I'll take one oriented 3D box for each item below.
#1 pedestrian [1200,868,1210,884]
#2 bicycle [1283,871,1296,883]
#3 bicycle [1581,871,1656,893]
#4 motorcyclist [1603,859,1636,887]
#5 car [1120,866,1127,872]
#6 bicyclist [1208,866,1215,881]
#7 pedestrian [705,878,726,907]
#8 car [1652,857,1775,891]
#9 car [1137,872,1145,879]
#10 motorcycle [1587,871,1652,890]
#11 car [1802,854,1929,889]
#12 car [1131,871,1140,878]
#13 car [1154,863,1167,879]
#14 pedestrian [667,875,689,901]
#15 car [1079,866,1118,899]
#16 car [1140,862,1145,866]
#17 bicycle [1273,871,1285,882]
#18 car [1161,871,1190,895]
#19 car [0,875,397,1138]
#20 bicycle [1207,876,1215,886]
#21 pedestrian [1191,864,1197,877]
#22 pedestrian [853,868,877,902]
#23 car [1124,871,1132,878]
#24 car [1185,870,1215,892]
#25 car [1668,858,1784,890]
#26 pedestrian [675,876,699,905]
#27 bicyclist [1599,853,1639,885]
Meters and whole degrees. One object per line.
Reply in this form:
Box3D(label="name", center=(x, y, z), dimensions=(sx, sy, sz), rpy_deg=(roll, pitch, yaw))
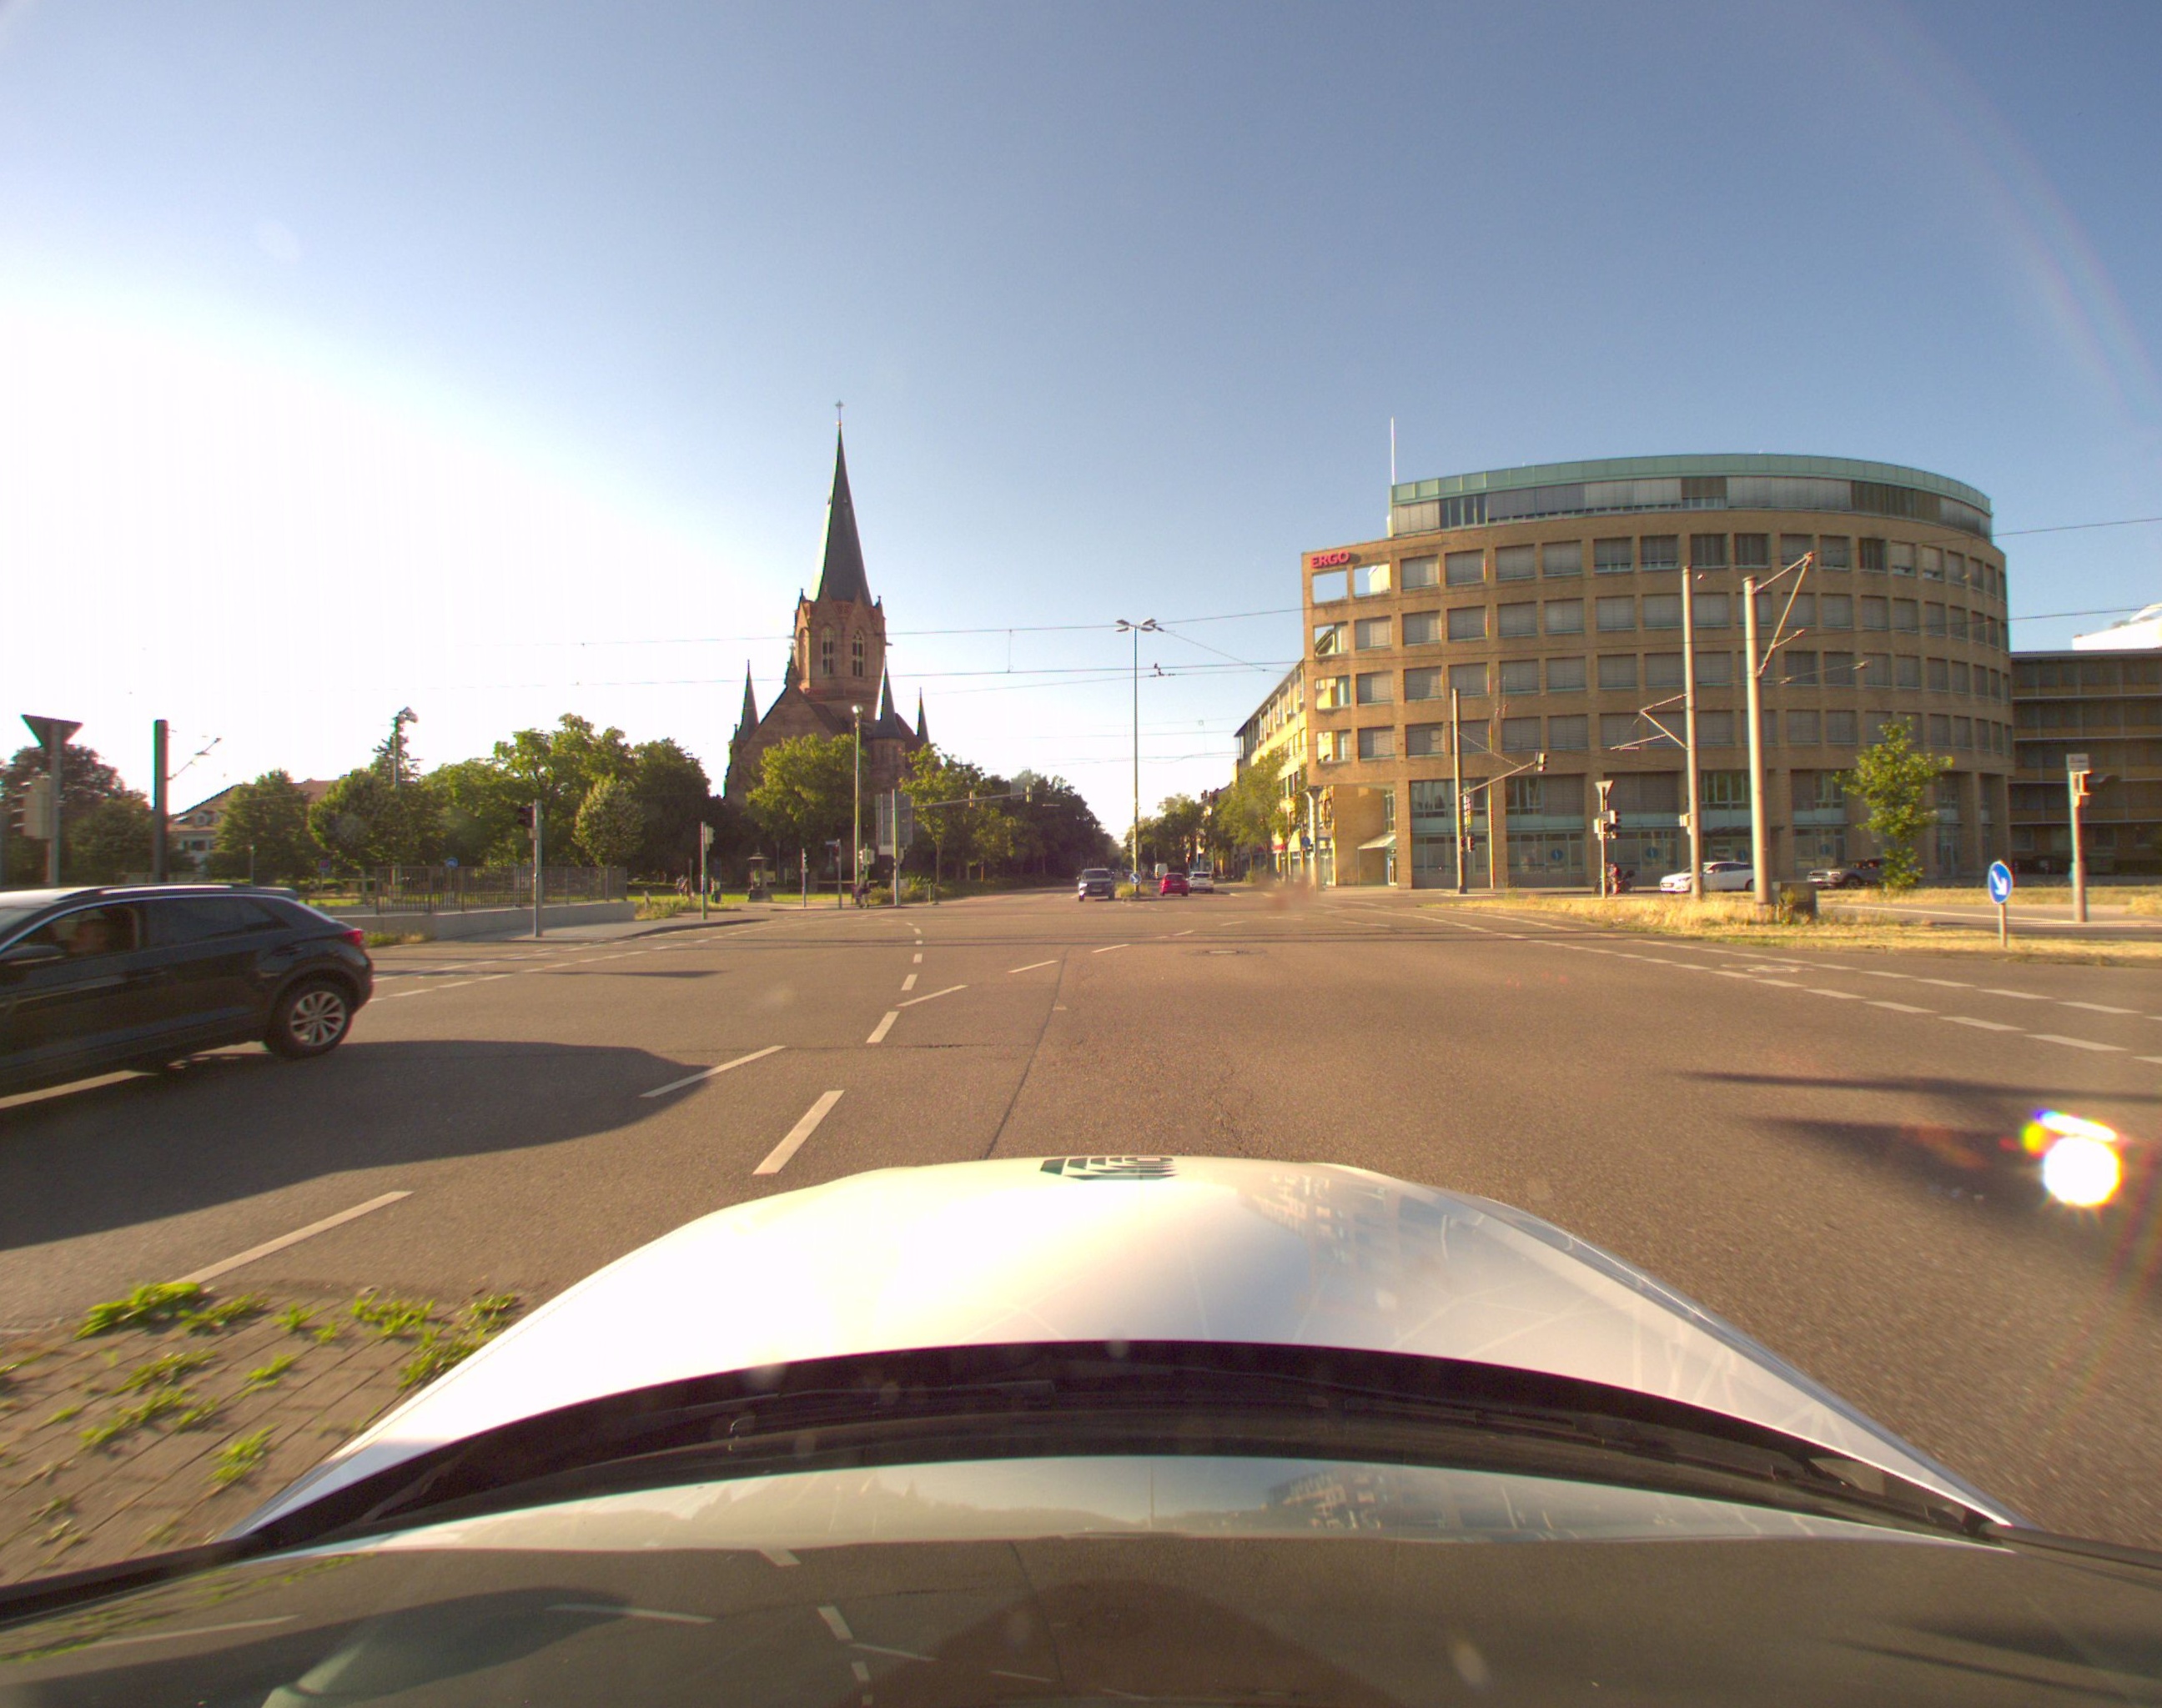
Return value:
Box3D(label="pedestrian", center=(15.452, 2.709, 101.198), dimensions=(1.103, 1.976, 1.162), rpy_deg=(-1, -1, 3))
Box3D(label="bicycle", center=(17.193, 1.894, 67.267), dimensions=(0.643, 0.995, 2.082), rpy_deg=(-1, -1, 3))
Box3D(label="bicycle", center=(26.895, 1.394, 40.784), dimensions=(2.949, 1.000, 1.154), rpy_deg=(-1, -1, 1))
Box3D(label="motorcyclist", center=(28.434, 0.995, 43.035), dimensions=(1.061, 1.435, 1.032), rpy_deg=(-1, -1, 2))
Box3D(label="car", center=(12.451, 4.466, 238.812), dimensions=(1.878, 1.671, 4.004), rpy_deg=(0, -1, 4))
Box3D(label="bicyclist", center=(12.537, 1.890, 78.327), dimensions=(0.589, 1.369, 0.931), rpy_deg=(0, -1, 4))
Box3D(label="pedestrian", center=(-21.323, 2.243, 47.490), dimensions=(0.885, 1.696, 0.714), rpy_deg=(0, -1, 23))
Box3D(label="car", center=(29.380, 0.932, 37.944), dimensions=(4.147, 1.492, 1.995), rpy_deg=(-1, -1, 1))
Box3D(label="car", center=(11.951, 4.312, 162.389), dimensions=(1.588, 1.267, 3.269), rpy_deg=(-1, -1, 4))
Box3D(label="motorcycle", center=(28.427, 1.395, 43.024), dimensions=(2.707, 0.964, 1.032), rpy_deg=(-1, -1, 2))
Box3D(label="car", center=(36.252, 0.801, 37.708), dimensions=(4.035, 1.492, 1.821), rpy_deg=(-1, -1, 2))
Box3D(label="car", center=(9.908, 3.748, 149.259), dimensions=(1.588, 1.267, 3.269), rpy_deg=(-1, -1, 4))
Box3D(label="car", center=(12.882, 2.728, 131.895), dimensions=(1.985, 2.441, 4.004), rpy_deg=(0, -1, 4))
Box3D(label="pedestrian", center=(-27.068, 2.290, 54.705), dimensions=(1.011, 1.696, 0.844), rpy_deg=(0, -1, -2))
Box3D(label="car", center=(0.928, 1.577, 45.348), dimensions=(1.987, 1.724, 5.029), rpy_deg=(-1, -2, 0))
Box3D(label="car", center=(18.379, 2.892, 242.940), dimensions=(1.588, 1.267, 3.269), rpy_deg=(-1, -1, 4))
Box3D(label="bicycle", center=(17.448, 1.971, 71.841), dimensions=(0.643, 0.995, 2.082), rpy_deg=(-1, -1, 3))
Box3D(label="car", center=(6.039, 1.864, 52.432), dimensions=(1.662, 1.462, 4.003), rpy_deg=(0, -1, 4))
Box3D(label="car", center=(-7.638, 1.020, 5.837), dimensions=(1.787, 1.565, 4.150), rpy_deg=(-2, 0, 3))
Box3D(label="bicycle", center=(12.533, 2.586, 78.335), dimensions=(0.589, 0.943, 1.980), rpy_deg=(0, 0, 4))
Box3D(label="pedestrian", center=(16.382, 2.368, 117.983), dimensions=(0.844, 1.803, 0.776), rpy_deg=(-1, -1, 3))
Box3D(label="pedestrian", center=(-11.143, 1.591, 42.043), dimensions=(0.960, 1.739, 0.813), rpy_deg=(-1, -2, 4))
Box3D(label="car", center=(10.375, 4.531, 179.991), dimensions=(1.588, 1.267, 3.269), rpy_deg=(-1, -1, 4))
Box3D(label="car", center=(9.139, 2.039, 62.757), dimensions=(1.908, 1.607, 4.273), rpy_deg=(0, -1, 4))
Box3D(label="car", center=(33.930, 1.066, 42.945), dimensions=(4.462, 1.537, 1.988), rpy_deg=(-1, -1, 4))
Box3D(label="pedestrian", center=(-23.597, 2.173, 48.799), dimensions=(1.004, 1.696, 0.849), rpy_deg=(0, -1, 25))
Box3D(label="bicyclist", center=(26.928, 0.736, 40.788), dimensions=(1.218, 1.572, 1.154), rpy_deg=(-1, -1, 1))
